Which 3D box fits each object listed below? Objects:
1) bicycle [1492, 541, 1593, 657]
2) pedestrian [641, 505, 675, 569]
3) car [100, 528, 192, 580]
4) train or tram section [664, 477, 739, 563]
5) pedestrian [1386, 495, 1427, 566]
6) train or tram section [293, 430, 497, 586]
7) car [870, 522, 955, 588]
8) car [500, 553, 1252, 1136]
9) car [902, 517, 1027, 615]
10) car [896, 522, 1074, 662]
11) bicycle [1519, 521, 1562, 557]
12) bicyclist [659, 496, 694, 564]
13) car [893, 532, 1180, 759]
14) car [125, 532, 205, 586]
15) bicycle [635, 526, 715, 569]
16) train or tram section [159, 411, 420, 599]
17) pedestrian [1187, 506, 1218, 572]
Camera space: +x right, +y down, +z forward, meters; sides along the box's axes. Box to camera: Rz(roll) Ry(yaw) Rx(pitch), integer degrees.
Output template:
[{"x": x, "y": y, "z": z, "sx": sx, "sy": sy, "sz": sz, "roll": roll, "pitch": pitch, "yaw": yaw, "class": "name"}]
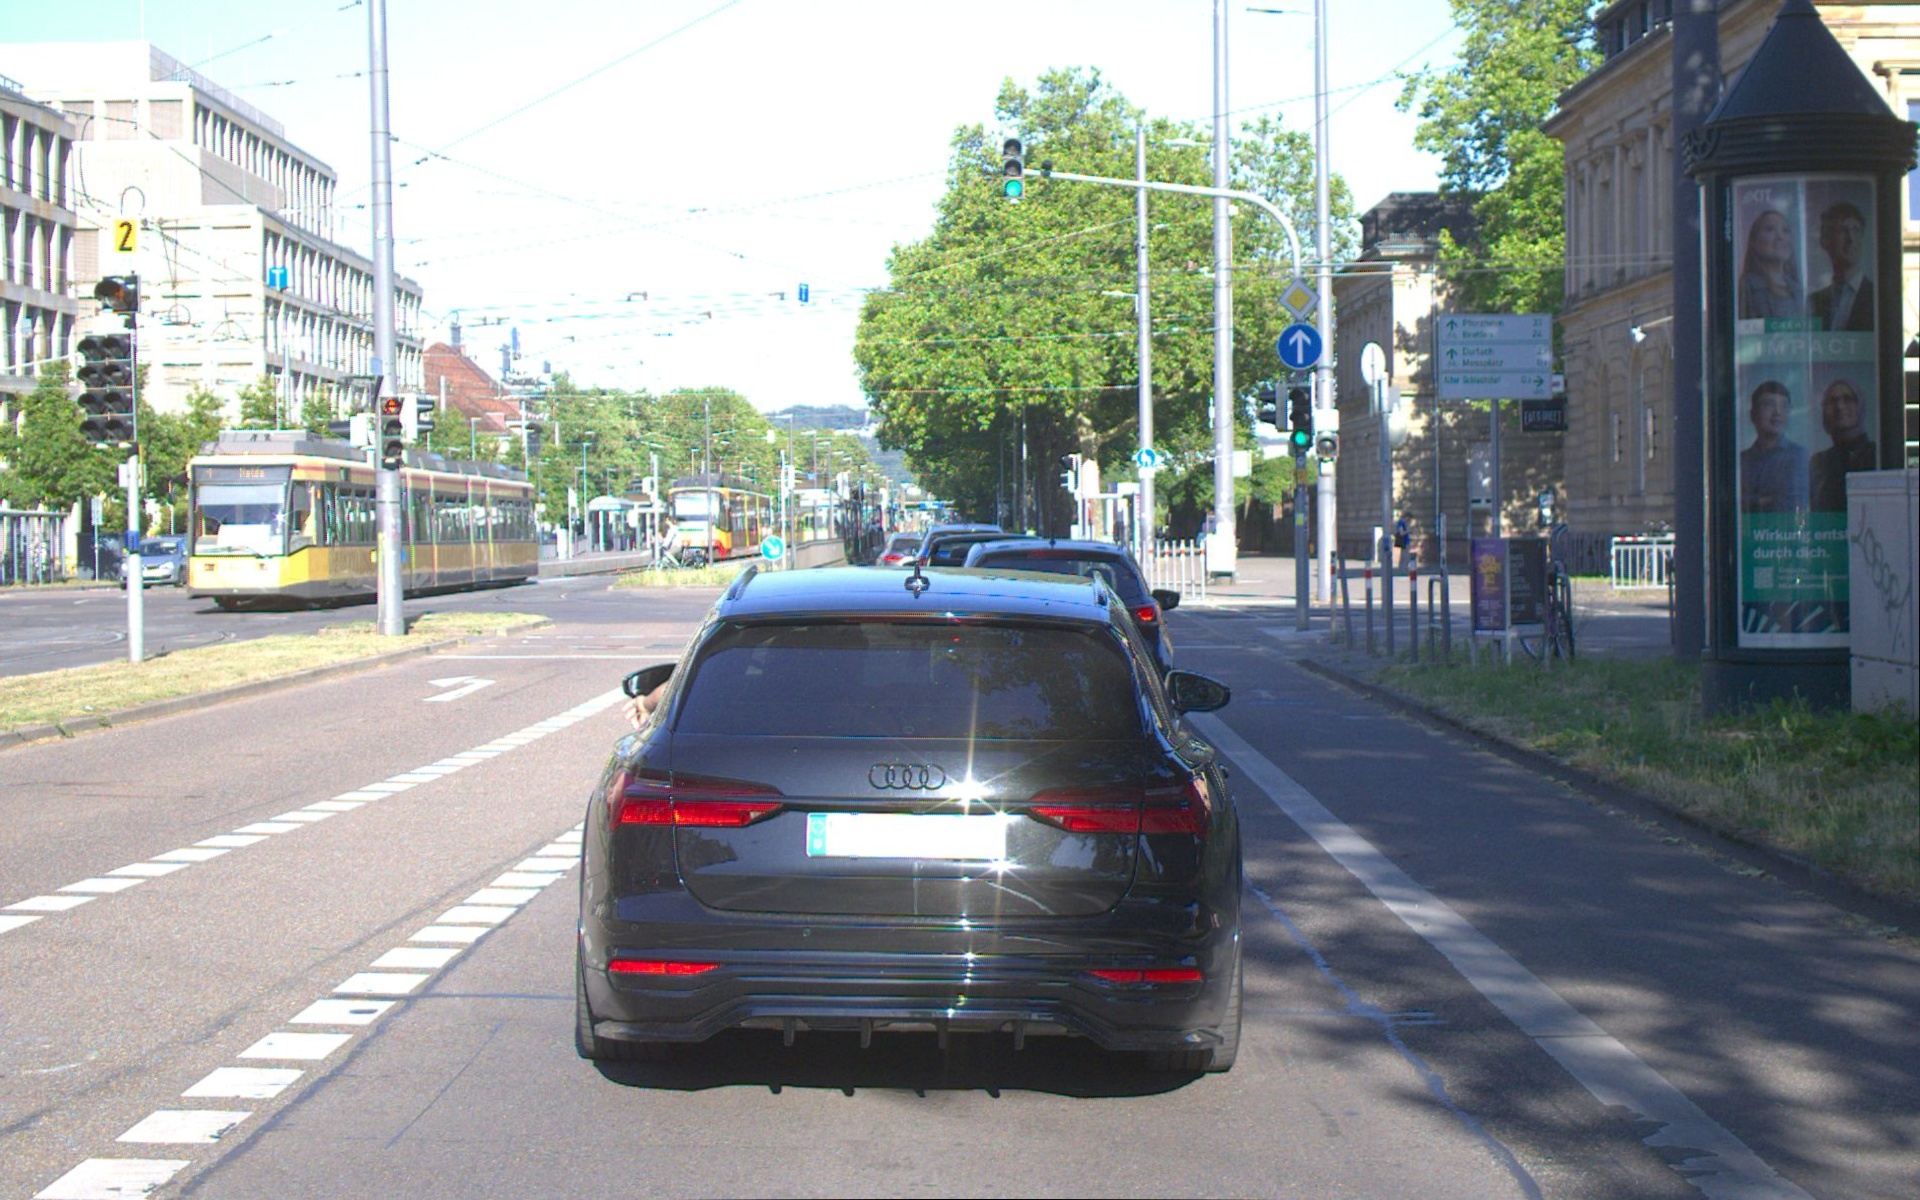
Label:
[{"x": 5.541, "y": -0.026, "z": 32.756, "sx": 0.540, "sy": 1.058, "sz": 1.772, "roll": -1, "pitch": 1, "yaw": -4, "class": "bicycle"}, {"x": -8.210, "y": -1.712, "z": 93.416, "sx": 0.739, "sy": 1.735, "sz": 0.664, "roll": -1, "pitch": 1, "yaw": -20, "class": "pedestrian"}, {"x": -23.546, "y": -1.344, "z": 99.540, "sx": 1.820, "sy": 1.452, "sz": 4.157, "roll": -1, "pitch": 1, "yaw": -3, "class": "car"}, {"x": -10.807, "y": -3.359, "z": 144.470, "sx": 2.608, "sy": 3.439, "sz": 11.134, "roll": -1, "pitch": 1, "yaw": -2, "class": "train or tram section"}, {"x": 11.920, "y": -1.852, "z": 91.781, "sx": 0.979, "sy": 1.859, "sz": 0.827, "roll": -1, "pitch": 1, "yaw": 2, "class": "pedestrian"}, {"x": -13.646, "y": -2.233, "z": 84.174, "sx": 2.813, "sy": 3.477, "sz": 13.205, "roll": -1, "pitch": 1, "yaw": 0, "class": "train or tram section"}, {"x": -1.095, "y": -1.071, "z": 80.983, "sx": 1.902, "sy": 1.481, "sz": 4.145, "roll": 1, "pitch": 1, "yaw": 0, "class": "car"}, {"x": -0.209, "y": 0.597, "z": 10.854, "sx": 1.902, "sy": 1.417, "sz": 4.145, "roll": 1, "pitch": 1, "yaw": 0, "class": "car"}, {"x": 0.080, "y": -0.581, "z": 55.121, "sx": 1.902, "sy": 1.481, "sz": 4.145, "roll": 1, "pitch": 1, "yaw": 0, "class": "car"}, {"x": 0.279, "y": -0.133, "z": 39.368, "sx": 1.902, "sy": 1.481, "sz": 4.145, "roll": 1, "pitch": 1, "yaw": 0, "class": "car"}, {"x": 16.954, "y": -1.786, "z": 100.369, "sx": 0.526, "sy": 1.043, "sz": 2.360, "roll": -1, "pitch": 1, "yaw": -8, "class": "bicycle"}, {"x": -7.583, "y": -1.869, "z": 91.969, "sx": 0.756, "sy": 1.812, "sz": 0.765, "roll": -1, "pitch": 1, "yaw": -19, "class": "bicyclist"}, {"x": 0.521, "y": 0.263, "z": 25.183, "sx": 1.902, "sy": 1.481, "sz": 4.145, "roll": 1, "pitch": 1, "yaw": 0, "class": "car"}, {"x": -27.394, "y": -1.440, "z": 118.584, "sx": 1.842, "sy": 1.806, "sz": 4.113, "roll": -1, "pitch": 1, "yaw": -1, "class": "car"}, {"x": -7.619, "y": -1.413, "z": 91.961, "sx": 2.005, "sy": 1.104, "sz": 0.765, "roll": -1, "pitch": 1, "yaw": -19, "class": "bicycle"}, {"x": -13.586, "y": -1.924, "z": 70.959, "sx": 2.813, "sy": 3.477, "sz": 13.205, "roll": -1, "pitch": 1, "yaw": 0, "class": "train or tram section"}, {"x": 6.118, "y": -1.538, "z": 86.886, "sx": 0.682, "sy": 1.655, "sz": 0.758, "roll": -1, "pitch": 1, "yaw": -2, "class": "pedestrian"}]
